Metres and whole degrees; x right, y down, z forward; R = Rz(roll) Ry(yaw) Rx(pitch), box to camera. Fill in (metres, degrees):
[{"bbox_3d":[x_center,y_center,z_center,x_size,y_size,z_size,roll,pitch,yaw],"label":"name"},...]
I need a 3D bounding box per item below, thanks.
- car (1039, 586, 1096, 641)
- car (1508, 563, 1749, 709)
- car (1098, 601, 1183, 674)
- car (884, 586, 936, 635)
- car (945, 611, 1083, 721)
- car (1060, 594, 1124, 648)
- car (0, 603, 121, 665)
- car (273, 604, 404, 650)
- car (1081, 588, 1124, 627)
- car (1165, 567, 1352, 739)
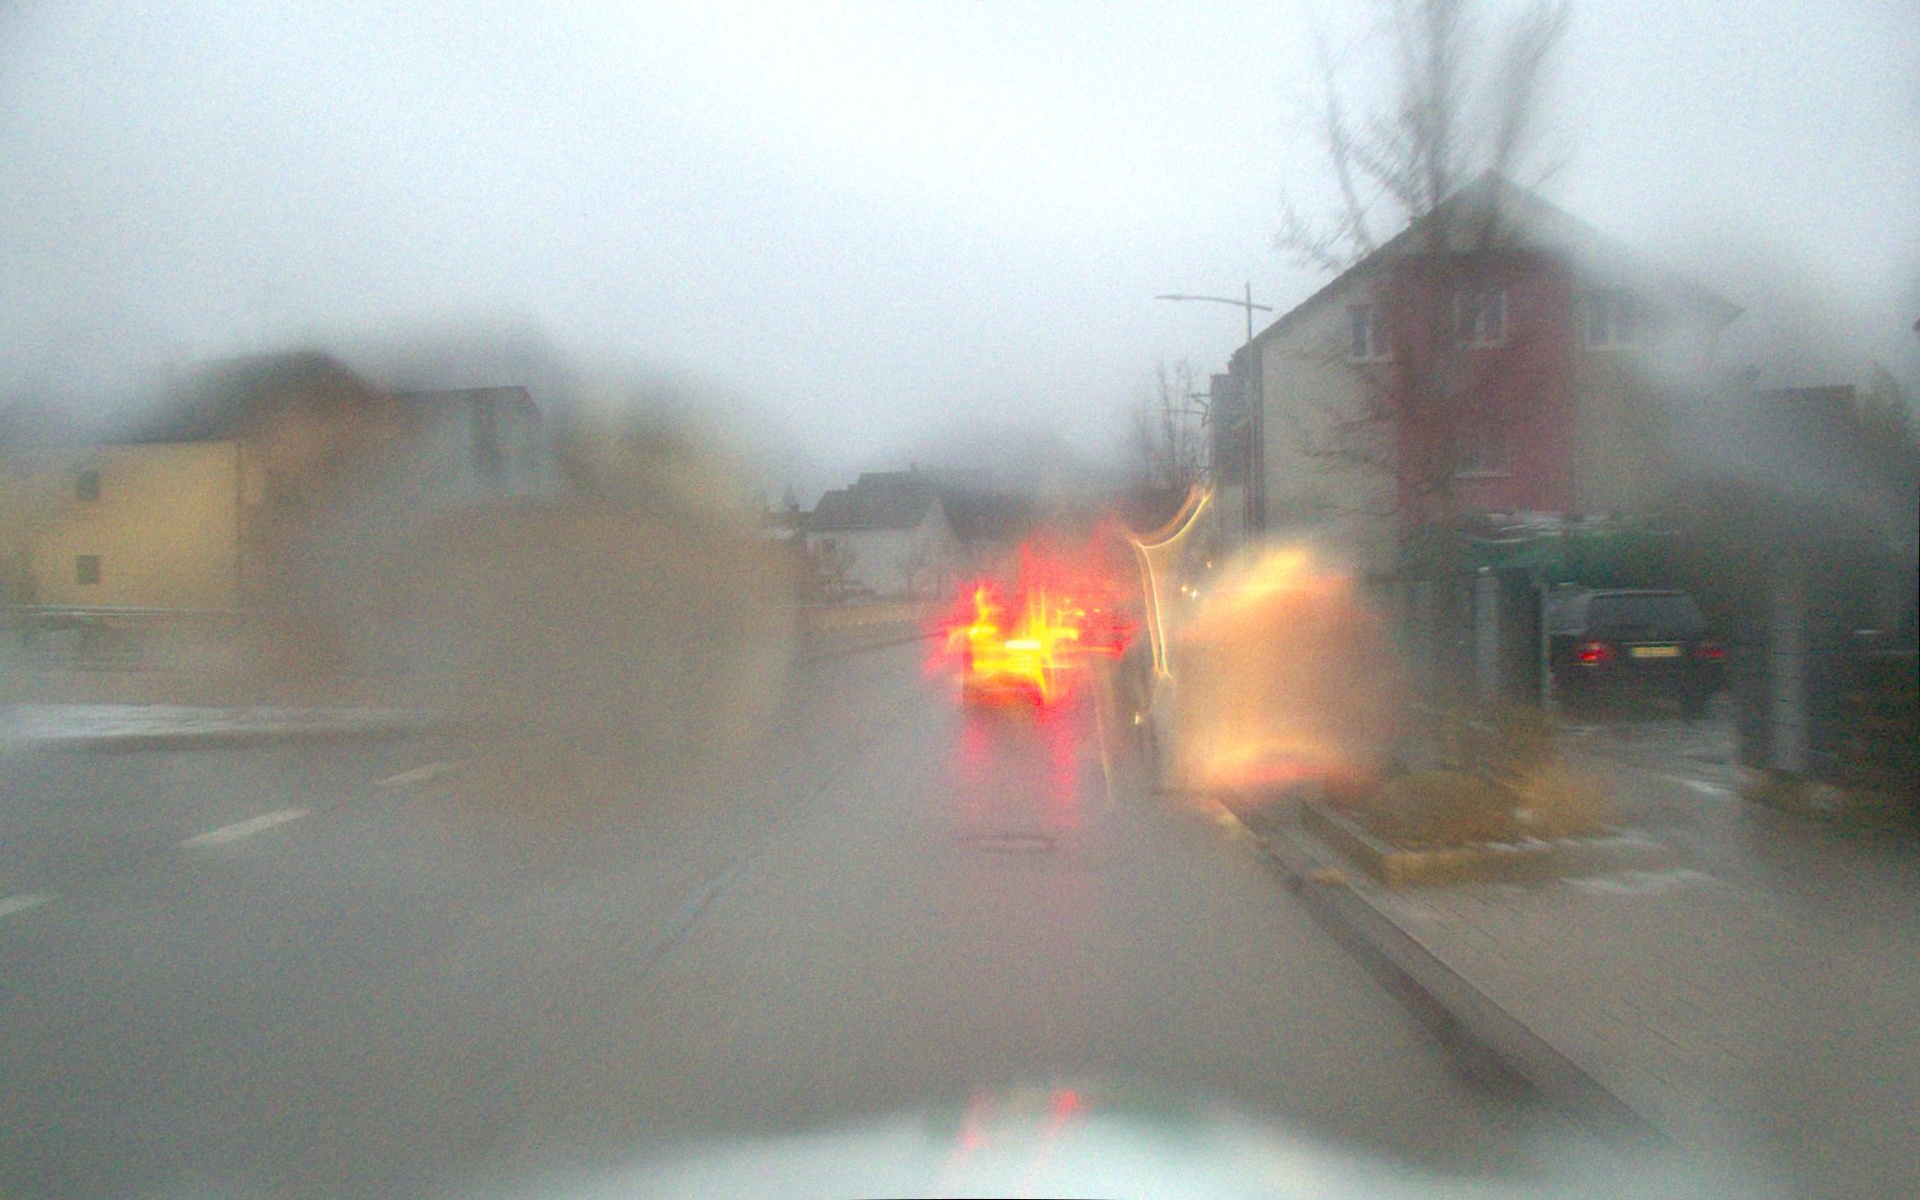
[{"bbox_3d":[4.138,0.536,63.317,1.951,2.049,4.003,0,-1,7],"label":"car"},{"bbox_3d":[8.157,0.391,20.600,1.926,1.610,4.340,-1,0,10],"label":"car"},{"bbox_3d":[4.460,0.936,40.418,1.951,1.700,4.002,0,-2,8],"label":"car"},{"bbox_3d":[-2.140,0.470,71.835,1.952,2.049,4.001,0,-1,3],"label":"car"},{"bbox_3d":[0.882,0.950,25.516,1.952,1.552,4.001,0,0,3],"label":"car"},{"bbox_3d":[4.444,0.675,55.229,1.951,1.709,4.003,1,0,6],"label":"car"},{"bbox_3d":[-21.918,0.755,38.682,1.951,1.330,4.116,1,0,11],"label":"car"},{"bbox_3d":[-19.390,0.808,51.787,1.951,1.330,4.116,1,0,11],"label":"car"},{"bbox_3d":[7.669,0.407,88.734,1.951,2.049,4.003,0,-1,9],"label":"car"},{"bbox_3d":[3.542,0.565,20.332,1.708,1.816,4.338,-2,0,4],"label":"car"}]
